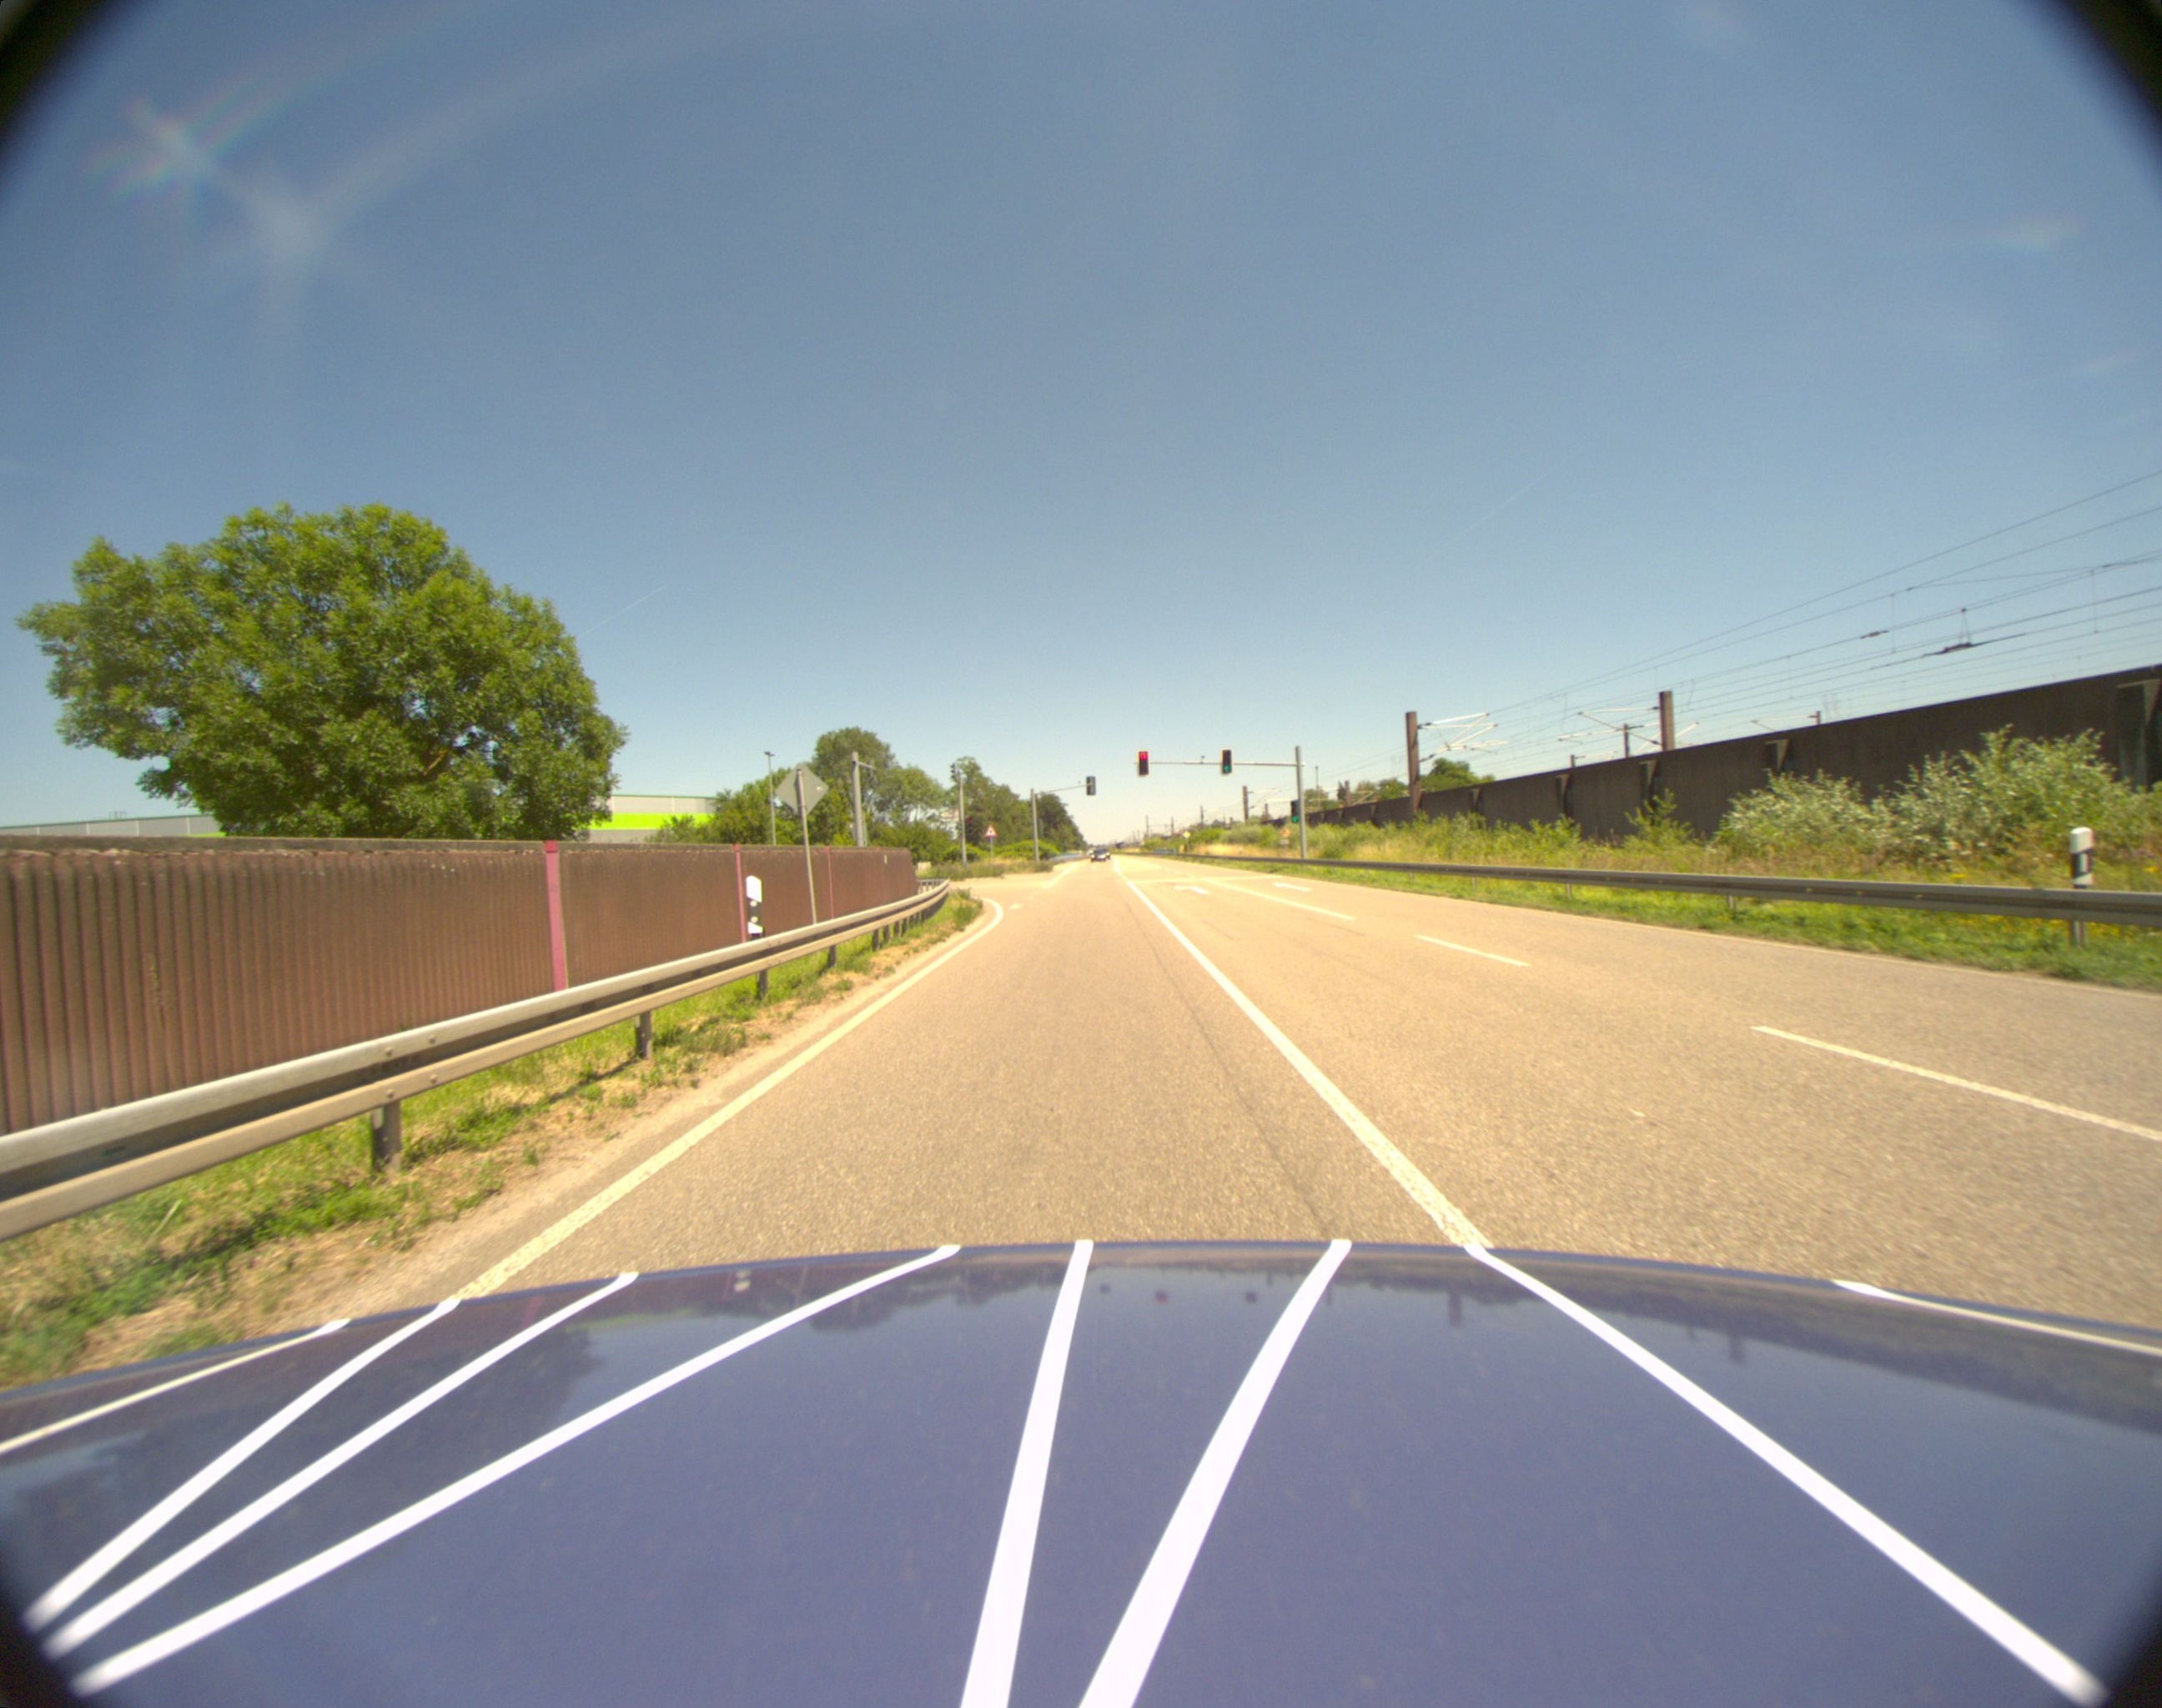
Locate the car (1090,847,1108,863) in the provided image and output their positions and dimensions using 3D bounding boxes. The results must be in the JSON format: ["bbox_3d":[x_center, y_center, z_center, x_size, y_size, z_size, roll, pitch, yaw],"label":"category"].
[{"bbox_3d":[2.093,0.077,89.546,1.998,1.718,4.000,-3,1,1],"label":"car"}]

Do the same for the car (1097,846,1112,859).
[{"bbox_3d":[3.397,-0.201,109.581,1.998,1.718,4.000,-3,1,2],"label":"car"}]
